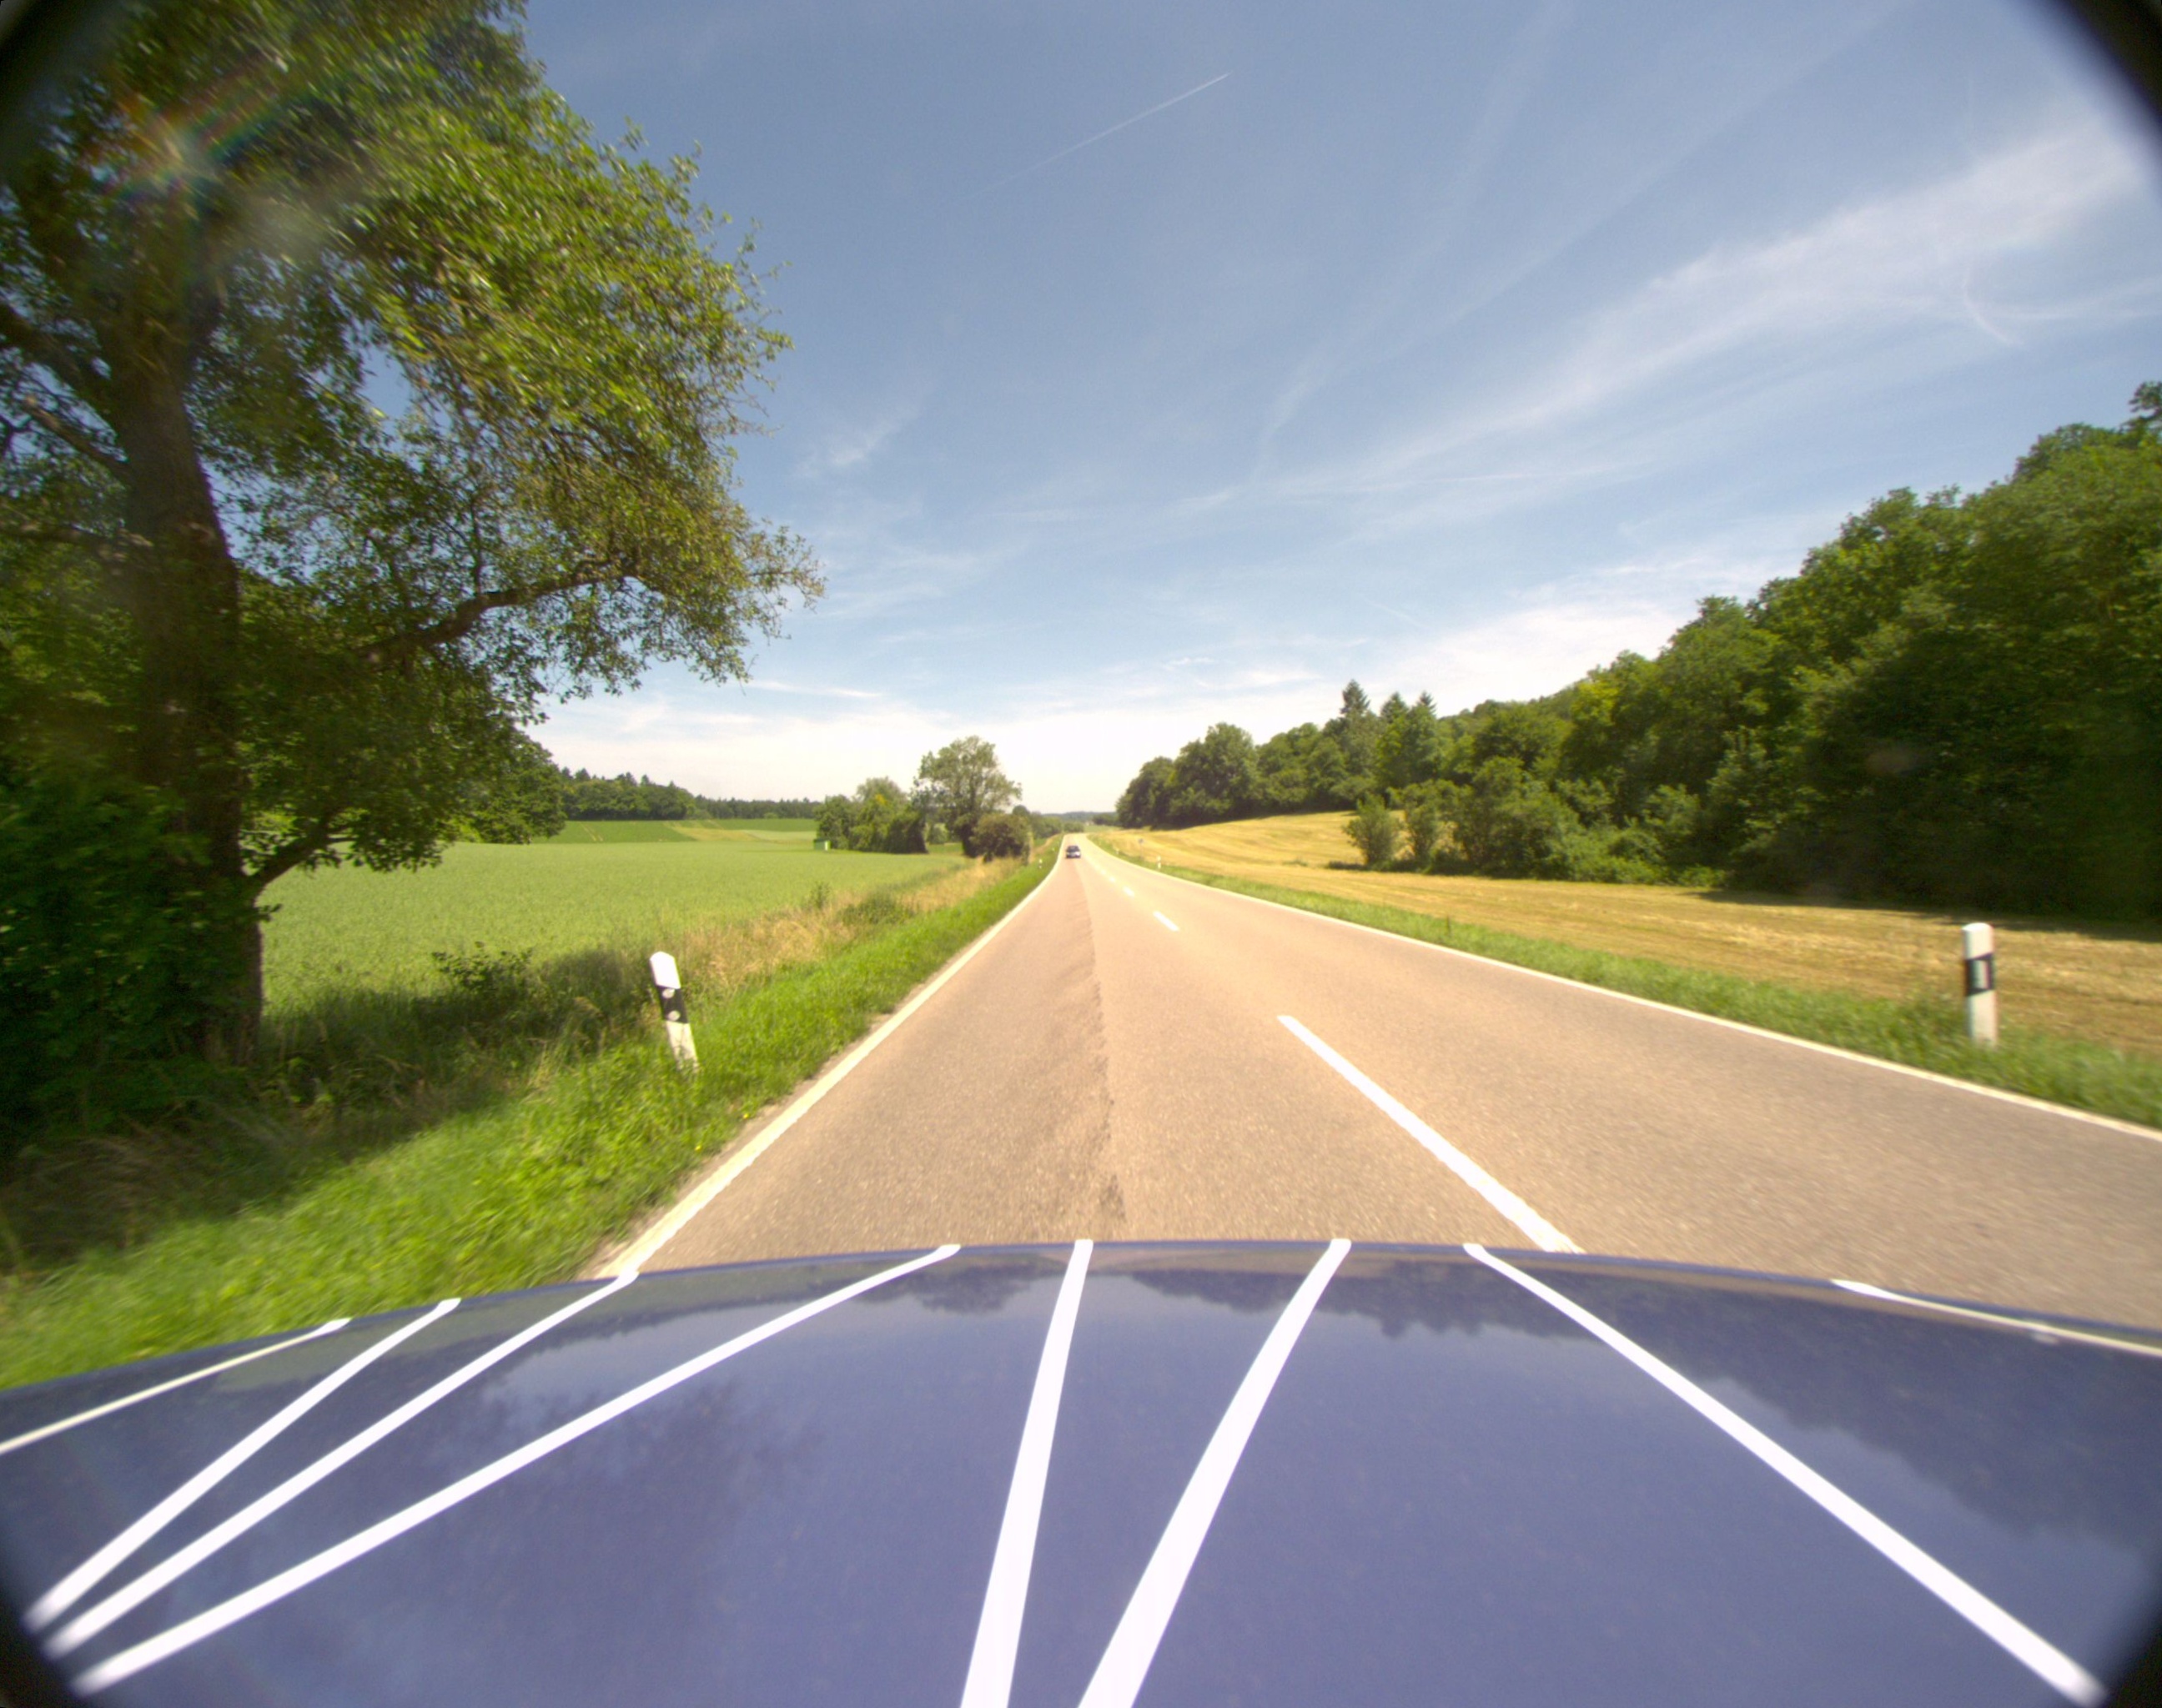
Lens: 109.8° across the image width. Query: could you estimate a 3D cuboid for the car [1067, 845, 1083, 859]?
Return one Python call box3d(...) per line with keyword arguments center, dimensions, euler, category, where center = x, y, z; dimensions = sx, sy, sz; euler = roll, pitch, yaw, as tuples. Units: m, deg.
box3d(center=(-0.758, -0.219, 95.203), dimensions=(1.816, 1.569, 4.154), euler=(-2, -1, 0), category="car")
